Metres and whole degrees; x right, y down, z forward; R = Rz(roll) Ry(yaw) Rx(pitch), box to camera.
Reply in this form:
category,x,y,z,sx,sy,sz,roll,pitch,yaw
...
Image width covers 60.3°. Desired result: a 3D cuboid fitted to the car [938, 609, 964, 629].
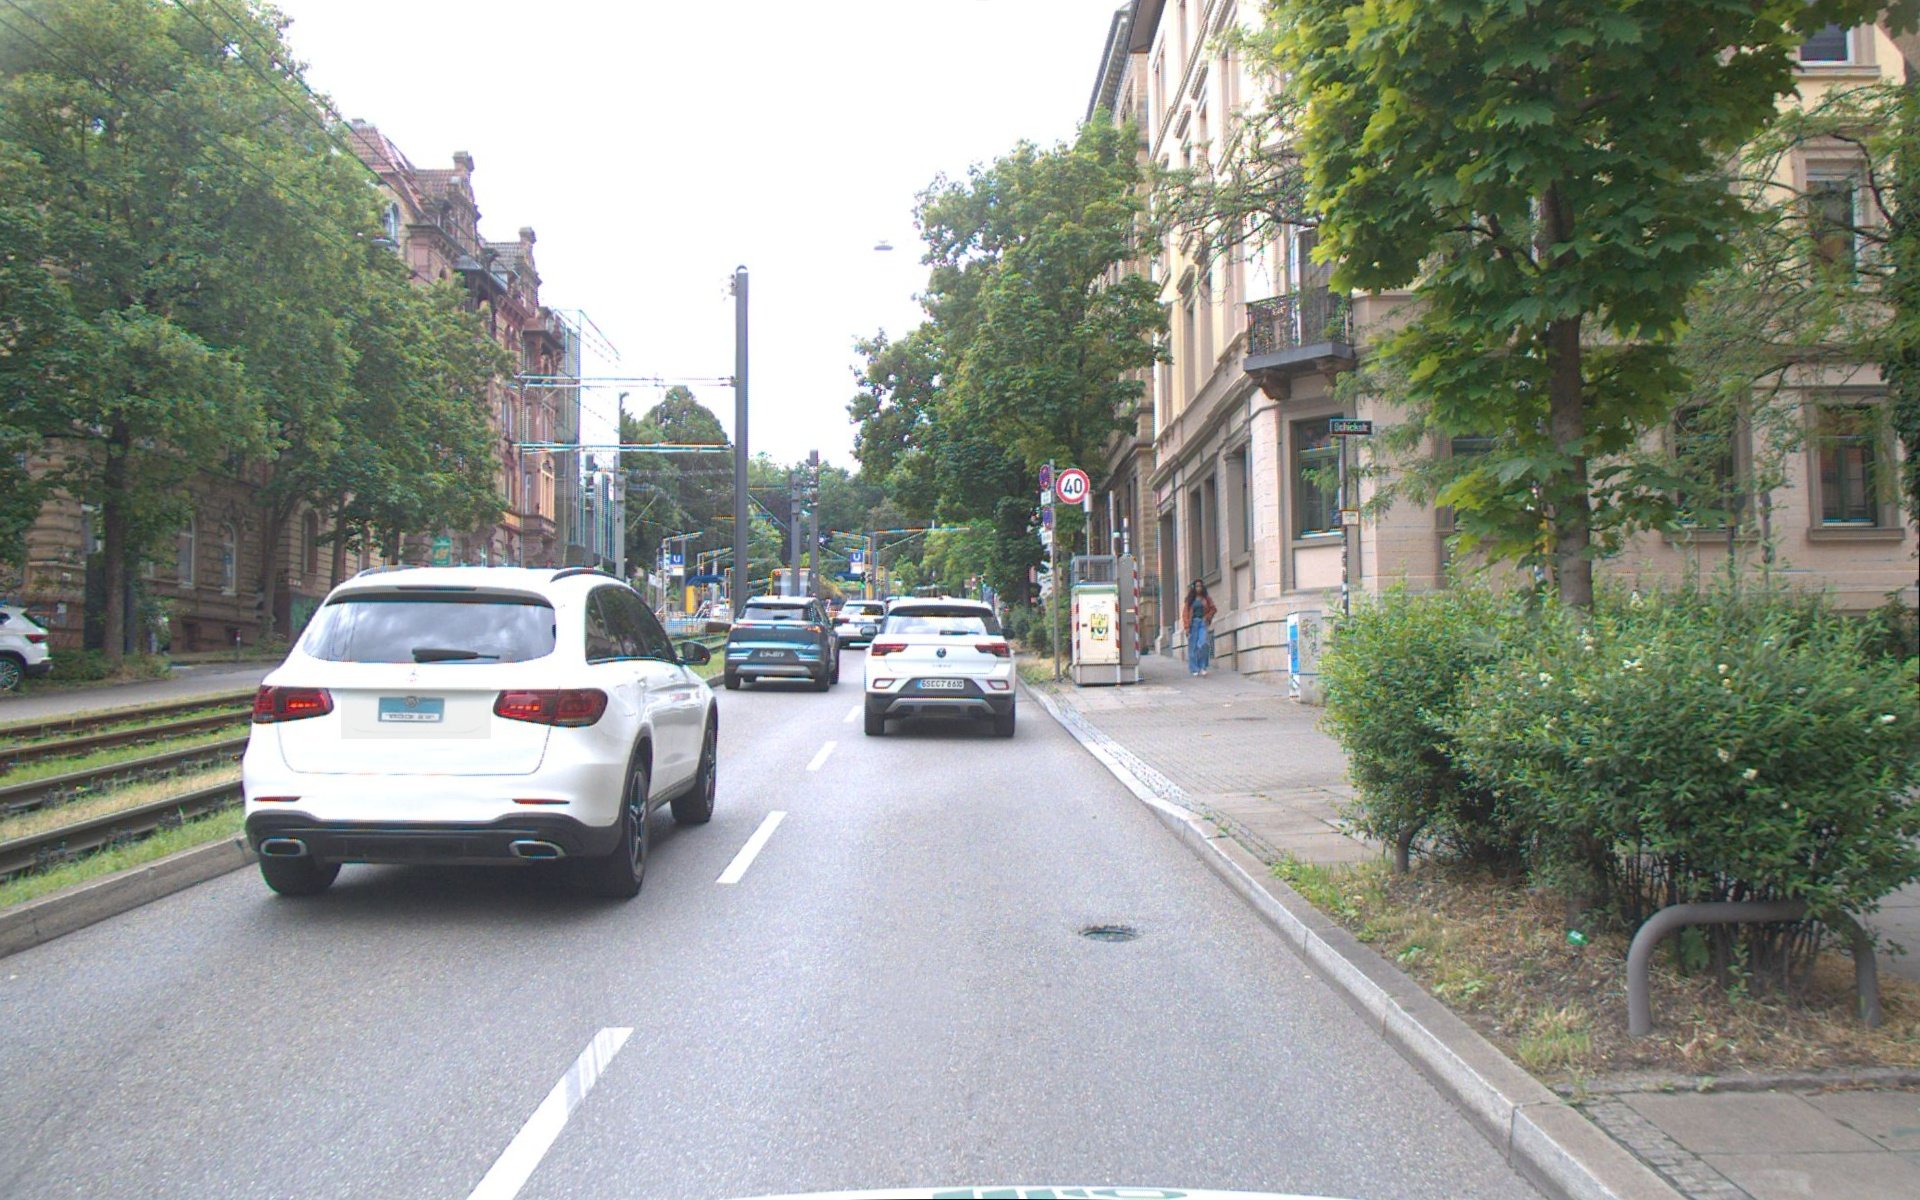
category,x,y,z,sx,sy,sz,roll,pitch,yaw
car,-0.751,1.498,133.323,2.026,1.573,4.193,1,0,0

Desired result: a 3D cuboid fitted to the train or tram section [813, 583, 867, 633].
category,x,y,z,sx,sy,sz,roll,pitch,yaw
train or tram section,-8.742,0.592,121.940,2.934,3.407,13.438,0,0,0

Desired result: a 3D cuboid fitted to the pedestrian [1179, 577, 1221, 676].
category,x,y,z,sx,sy,sz,roll,pitch,yaw
pedestrian,4.203,0.445,28.944,0.695,1.691,1.128,-1,0,9

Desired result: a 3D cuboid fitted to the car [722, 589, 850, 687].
category,x,y,z,sx,sy,sz,roll,pitch,yaw
car,-2.979,0.628,29.102,1.798,1.573,4.193,1,0,0

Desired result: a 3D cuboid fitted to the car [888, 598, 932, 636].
category,x,y,z,sx,sy,sz,roll,pitch,yaw
car,-2.179,0.726,72.553,1.798,1.573,4.193,1,0,0

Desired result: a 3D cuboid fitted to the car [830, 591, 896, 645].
category,x,y,z,sx,sy,sz,roll,pitch,yaw
car,-2.947,0.545,51.185,1.798,1.573,4.193,1,0,0

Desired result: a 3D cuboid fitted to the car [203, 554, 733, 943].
category,x,y,z,sx,sy,sz,roll,pitch,yaw
car,-2.490,0.671,9.649,1.798,1.696,4.668,1,0,-2

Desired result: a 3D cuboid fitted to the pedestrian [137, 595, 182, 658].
category,x,y,z,sx,sy,sz,roll,pitch,yaw
pedestrian,-22.376,0.739,46.248,0.814,1.714,0.848,-1,0,-3

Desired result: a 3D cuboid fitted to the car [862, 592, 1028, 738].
category,x,y,z,sx,sy,sz,roll,pitch,yaw
car,-0.219,0.726,20.270,1.798,1.573,4.192,1,0,-2

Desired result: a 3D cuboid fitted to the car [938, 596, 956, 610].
category,x,y,z,sx,sy,sz,roll,pitch,yaw
car,-1.471,0.346,186.270,2.026,1.573,4.193,1,0,0

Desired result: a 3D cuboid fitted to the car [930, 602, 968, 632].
category,x,y,z,sx,sy,sz,roll,pitch,yaw
car,-0.613,0.935,91.719,2.026,1.573,4.193,1,0,0

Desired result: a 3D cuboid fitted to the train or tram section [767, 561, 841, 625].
category,x,y,z,sx,sy,sz,roll,pitch,yaw
train or tram section,-8.800,-0.347,94.895,2.934,3.407,13.438,0,0,0

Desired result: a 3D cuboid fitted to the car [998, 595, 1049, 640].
category,x,y,z,sx,sy,sz,roll,pitch,yaw
car,2.473,0.679,65.268,1.798,1.629,4.193,-2,0,0

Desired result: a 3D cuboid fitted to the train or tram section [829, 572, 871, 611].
category,x,y,z,sx,sy,sz,roll,pitch,yaw
train or tram section,-10.064,-0.734,152.318,2.934,3.407,13.438,0,0,0

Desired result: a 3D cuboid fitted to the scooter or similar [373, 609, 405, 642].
category,x,y,z,sx,sy,sz,roll,pitch,yaw
scooter or similar,-23.031,1.017,66.754,0.616,1.277,2.214,0,0,-3

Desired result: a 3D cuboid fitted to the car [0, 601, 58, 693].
category,x,y,z,sx,sy,sz,roll,pitch,yaw
car,-18.957,0.816,29.835,4.553,1.646,1.913,1,-1,-35
